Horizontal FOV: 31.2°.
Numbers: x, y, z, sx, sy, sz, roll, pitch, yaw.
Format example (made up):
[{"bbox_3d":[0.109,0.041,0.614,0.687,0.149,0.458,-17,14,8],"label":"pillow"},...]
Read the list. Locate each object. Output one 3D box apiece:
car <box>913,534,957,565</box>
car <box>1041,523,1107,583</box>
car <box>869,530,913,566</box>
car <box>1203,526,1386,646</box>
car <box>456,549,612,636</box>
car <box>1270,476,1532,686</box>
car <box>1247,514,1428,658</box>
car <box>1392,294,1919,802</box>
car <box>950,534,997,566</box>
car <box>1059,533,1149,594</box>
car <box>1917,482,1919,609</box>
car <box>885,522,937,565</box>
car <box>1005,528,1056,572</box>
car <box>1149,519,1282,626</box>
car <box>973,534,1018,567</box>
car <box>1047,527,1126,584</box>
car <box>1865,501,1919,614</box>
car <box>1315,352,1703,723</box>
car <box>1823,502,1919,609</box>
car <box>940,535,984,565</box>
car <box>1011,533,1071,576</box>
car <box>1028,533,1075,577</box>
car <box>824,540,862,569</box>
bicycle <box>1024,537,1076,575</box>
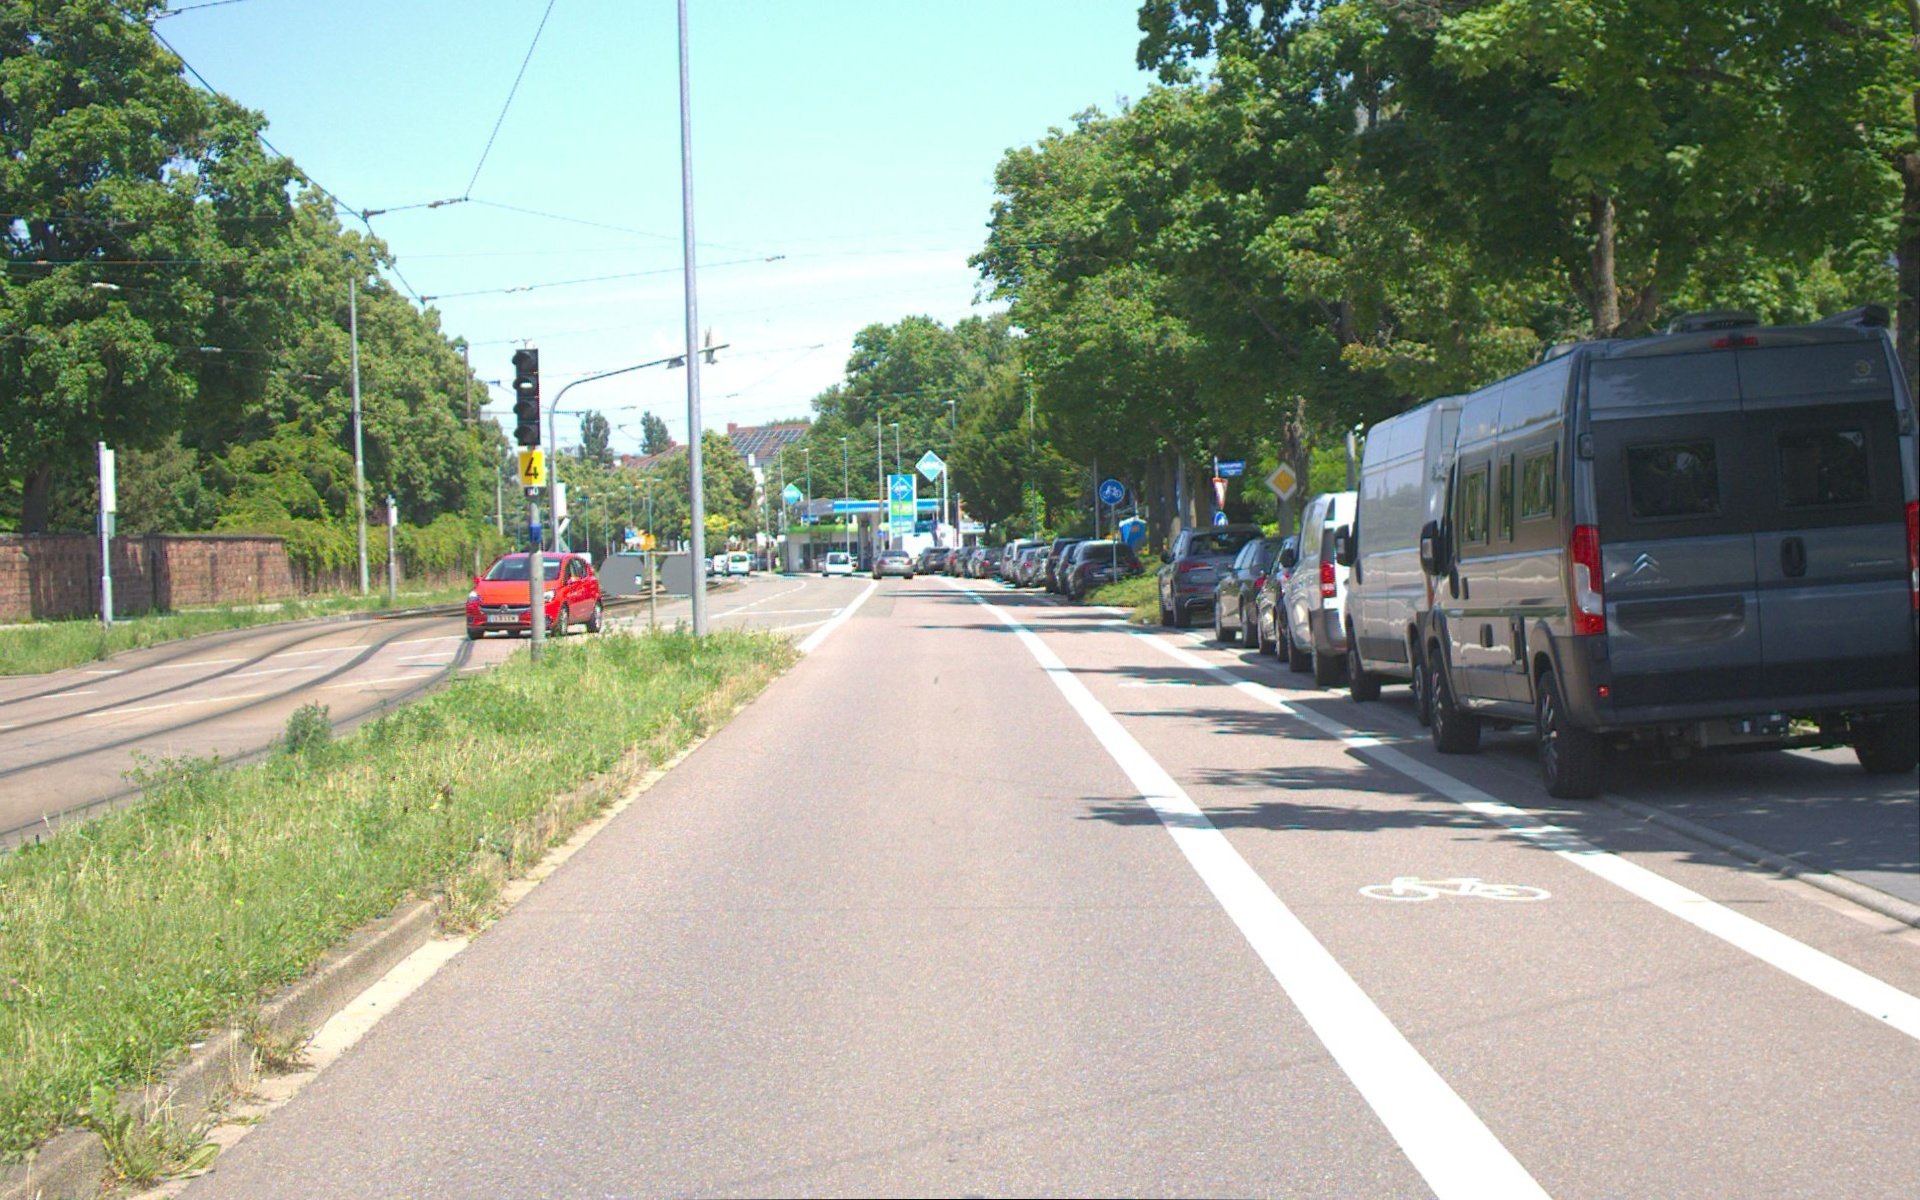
[{"bbox_3d":[-1.452,-2.915,199.102,1.755,1.625,4.325,-4,1,-10],"label":"car"},{"bbox_3d":[3.538,-1.480,107.119,1.841,1.700,4.626,-4,1,1],"label":"car"},{"bbox_3d":[-3.377,-2.530,167.949,1.755,1.625,4.325,-4,1,-5],"label":"car"},{"bbox_3d":[4.416,-0.224,45.990,1.712,1.413,4.709,-4,1,-2],"label":"car"},{"bbox_3d":[-7.469,-0.153,60.641,1.707,1.409,4.280,-1,1,7],"label":"car"},{"bbox_3d":[4.422,-0.240,35.283,1.998,1.872,5.276,-4,1,1],"label":"car"},{"bbox_3d":[4.457,-0.202,41.009,1.712,1.535,3.840,-4,1,1],"label":"car"},{"bbox_3d":[4.224,-0.348,21.640,1.997,2.627,6.079,-4,1,-1],"label":"car"},{"bbox_3d":[0.704,-2.666,183.226,1.706,1.557,4.325,-4,1,-10],"label":"car"},{"bbox_3d":[3.726,-0.982,89.521,1.840,1.431,4.825,-4,1,-3],"label":"car"},{"bbox_3d":[14.747,-0.658,43.520,4.692,1.638,1.954,1,1,0],"label":"car"},{"bbox_3d":[-2.988,-3.409,209.203,2.000,2.448,6.111,-4,1,-11],"label":"car"},{"bbox_3d":[3.051,-2.188,149.021,1.840,1.788,4.354,-4,1,-2],"label":"car"},{"bbox_3d":[4.260,-0.462,57.885,1.712,1.627,4.709,-4,0,-1],"label":"car"},{"bbox_3d":[1.745,-2.489,172.053,1.706,1.487,5.039,-4,1,-5],"label":"car"},{"bbox_3d":[3.705,-1.328,101.485,1.840,1.524,4.354,-4,1,-3],"label":"car"},{"bbox_3d":[14.467,-0.555,46.360,4.021,1.485,1.770,1,1,-2],"label":"car"},{"bbox_3d":[4.394,-0.529,28.575,1.997,2.627,6.143,-4,1,-1],"label":"car"},{"bbox_3d":[14.525,-0.615,48.883,4.021,1.485,1.770,1,1,-2],"label":"car"},{"bbox_3d":[0.091,-2.748,189.137,1.706,1.557,4.325,-4,1,-8],"label":"car"},{"bbox_3d":[3.134,-1.793,134.045,1.840,1.524,4.967,-4,1,-3],"label":"car"},{"bbox_3d":[3.435,-1.719,129.039,1.519,1.524,3.817,-4,1,-1],"label":"car"},{"bbox_3d":[-7.172,-2.806,211.001,1.755,1.625,4.325,-4,1,-8],"label":"car"},{"bbox_3d":[3.311,-1.616,127.001,1.774,1.224,0.683,-6,0,4],"label":"bicycle"}]
